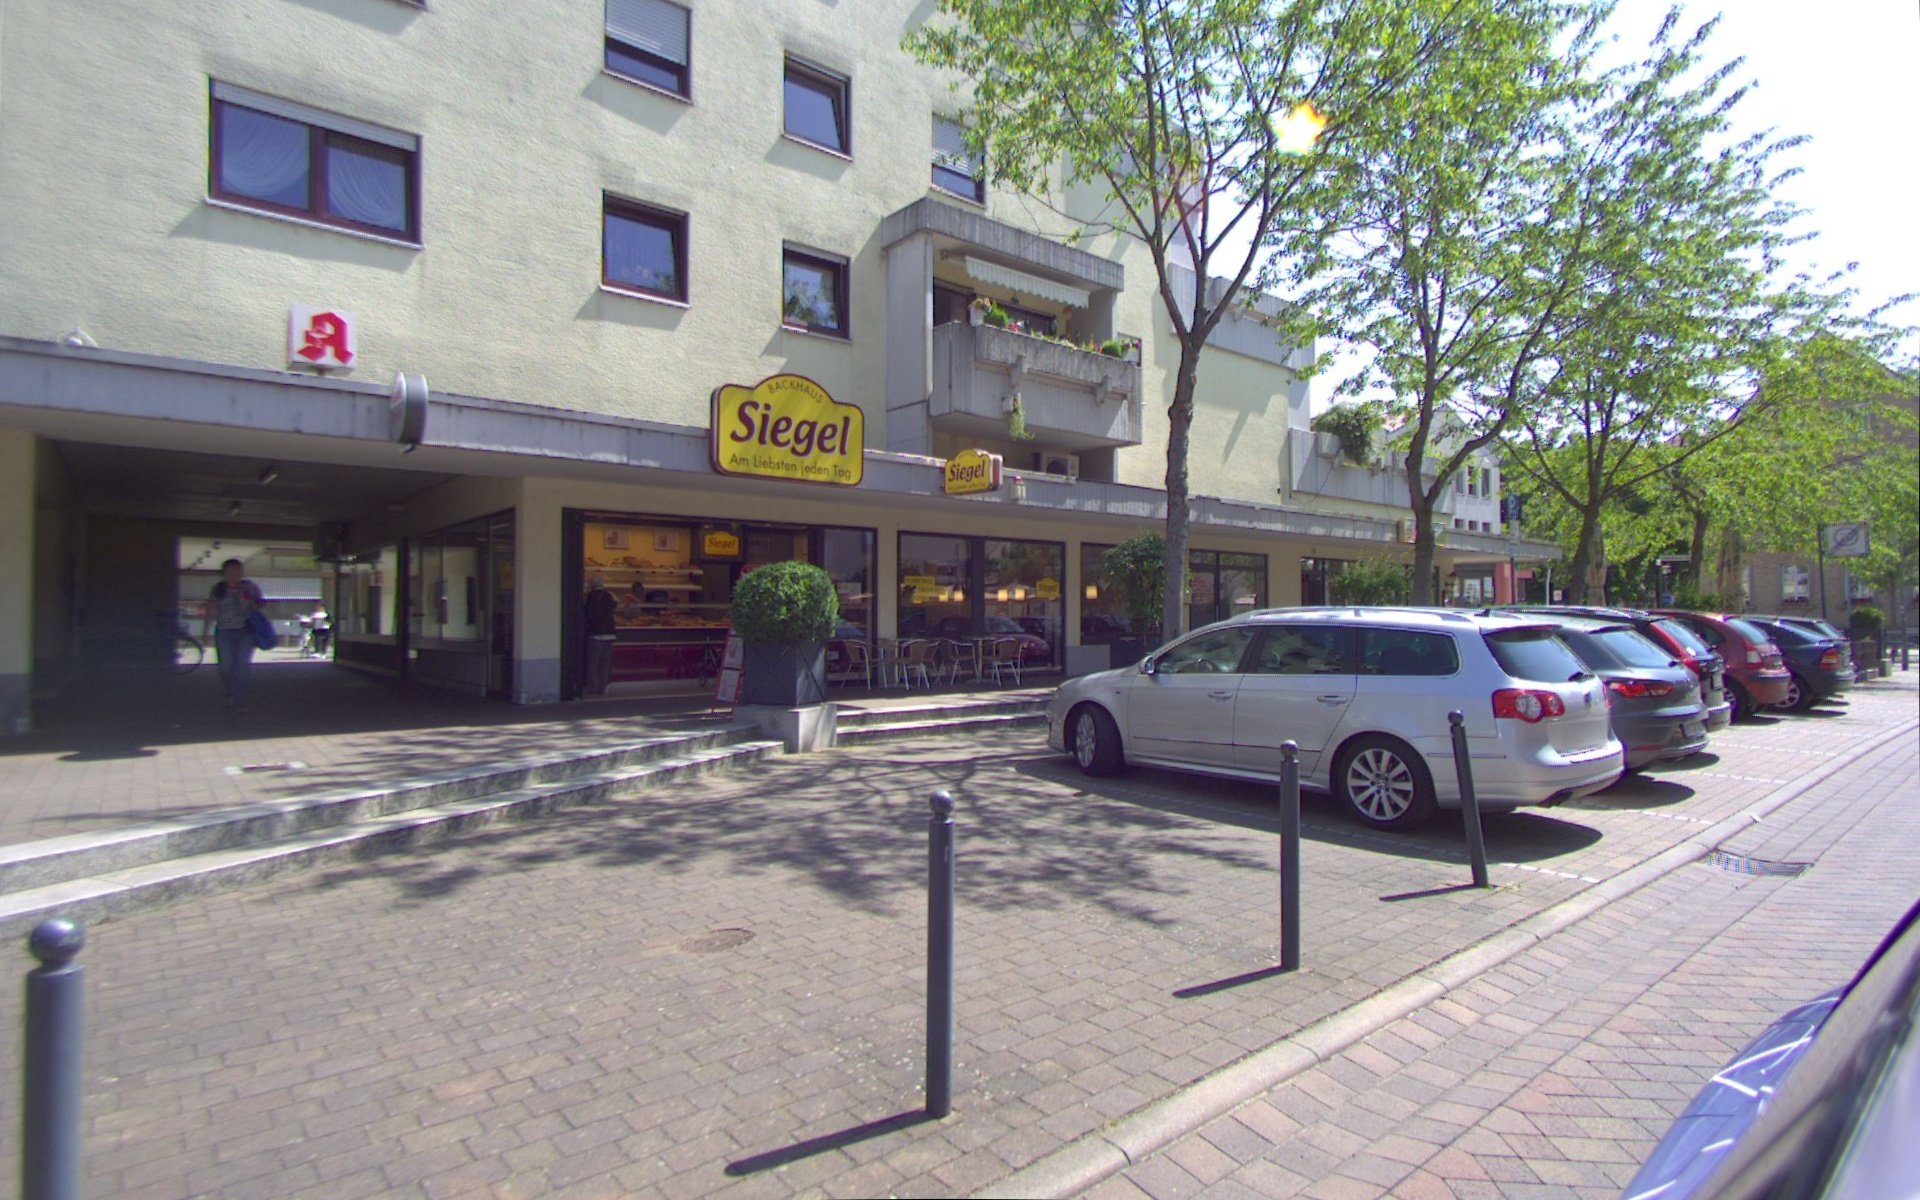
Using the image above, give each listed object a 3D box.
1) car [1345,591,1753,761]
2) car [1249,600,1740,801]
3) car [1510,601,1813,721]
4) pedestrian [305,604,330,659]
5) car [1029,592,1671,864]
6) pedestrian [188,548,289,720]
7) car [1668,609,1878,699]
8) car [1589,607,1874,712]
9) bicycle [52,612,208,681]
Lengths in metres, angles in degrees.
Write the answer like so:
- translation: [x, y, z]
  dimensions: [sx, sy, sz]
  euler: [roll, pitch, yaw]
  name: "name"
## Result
- translation: [6.474, 0.710, 11.431]
  dimensions: [1.604, 1.536, 3.651]
  euler: [1, 1, -39]
  name: "car"
- translation: [4.830, 0.758, 9.579]
  dimensions: [1.585, 1.449, 3.799]
  euler: [1, 0, -39]
  name: "car"
- translation: [10.227, 0.799, 14.939]
  dimensions: [1.493, 1.482, 3.400]
  euler: [1, 0, -39]
  name: "car"
- translation: [-17.104, 0.829, 26.948]
  dimensions: [0.470, 1.444, 0.413]
  euler: [1, -1, -44]
  name: "pedestrian"
- translation: [2.775, 0.753, 8.191]
  dimensions: [1.774, 1.563, 4.583]
  euler: [1, -1, -39]
  name: "car"
- translation: [-7.918, 0.353, 11.141]
  dimensions: [0.853, 1.803, 0.760]
  euler: [1, -1, -33]
  name: "pedestrian"
- translation: [14.313, 0.904, 17.903]
  dimensions: [1.245, 1.464, 2.701]
  euler: [1, -1, -40]
  name: "car"
- translation: [12.257, 0.868, 16.230]
  dimensions: [1.434, 1.407, 3.400]
  euler: [1, 1, -39]
  name: "car"
- translation: [-14.699, 0.795, 17.990]
  dimensions: [2.101, 1.155, 0.655]
  euler: [0, -1, -40]
  name: "bicycle"
